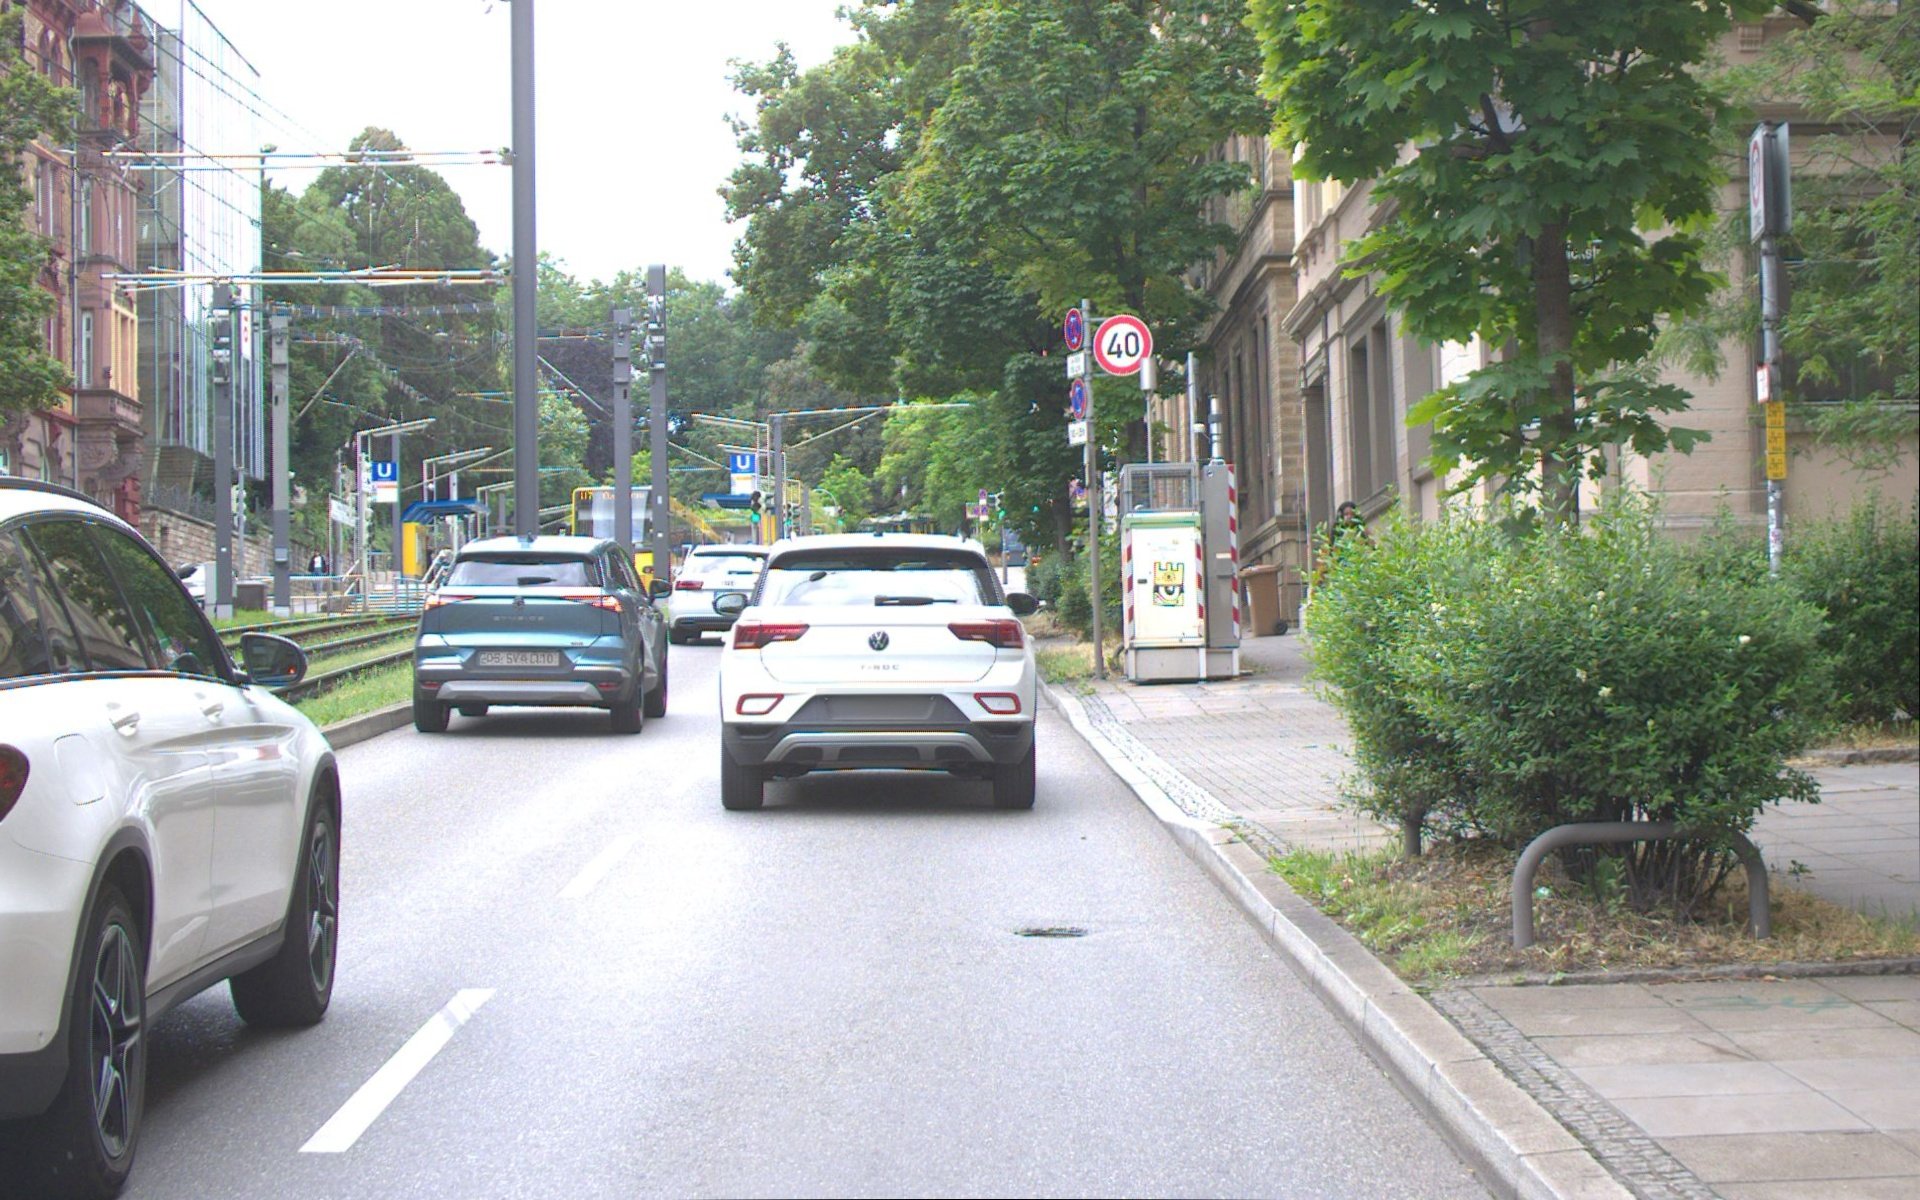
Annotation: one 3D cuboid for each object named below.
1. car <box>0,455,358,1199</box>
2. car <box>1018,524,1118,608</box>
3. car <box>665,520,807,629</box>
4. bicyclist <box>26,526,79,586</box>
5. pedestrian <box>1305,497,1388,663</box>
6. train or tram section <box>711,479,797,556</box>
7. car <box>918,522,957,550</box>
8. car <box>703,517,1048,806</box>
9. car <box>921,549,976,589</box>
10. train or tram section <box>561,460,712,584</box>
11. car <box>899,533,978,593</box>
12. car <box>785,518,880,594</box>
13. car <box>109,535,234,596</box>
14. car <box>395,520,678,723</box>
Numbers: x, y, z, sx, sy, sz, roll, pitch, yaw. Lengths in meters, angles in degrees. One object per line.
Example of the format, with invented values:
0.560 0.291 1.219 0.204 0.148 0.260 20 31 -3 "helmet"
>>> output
-2.832 0.506 8.971 1.835 1.661 4.671 0 1 -2 "car"
2.204 -0.717 70.991 1.835 1.596 4.194 -3 1 0 "car"
-3.287 -0.396 51.126 1.835 1.541 4.194 0 1 0 "car"
-21.777 -1.066 82.544 0.938 1.420 1.188 -1 1 -1 "bicyclist"
3.961 -0.216 35.160 0.710 1.657 1.126 -1 1 12 "pedestrian"
-9.403 -3.724 158.260 2.996 3.337 13.439 -1 1 0 "train or tram section"
-1.238 -3.474 187.022 2.068 1.541 4.194 0 1 0 "car"
-0.509 0.301 20.561 1.835 1.541 4.194 0 1 -2 "car"
-0.440 -1.216 133.231 2.068 1.541 4.194 0 1 0 "car"
-9.322 -2.225 100.563 2.996 3.337 13.439 -1 1 0 "train or tram section"
-0.568 -0.993 91.930 2.068 1.541 4.194 0 1 0 "car"
-2.642 -0.923 72.156 1.835 1.541 4.194 0 1 0 "car"
-18.748 -0.829 81.902 1.993 1.398 4.000 -1 1 0 "car"
-3.416 0.133 28.422 1.835 1.541 4.194 0 1 0 "car"
